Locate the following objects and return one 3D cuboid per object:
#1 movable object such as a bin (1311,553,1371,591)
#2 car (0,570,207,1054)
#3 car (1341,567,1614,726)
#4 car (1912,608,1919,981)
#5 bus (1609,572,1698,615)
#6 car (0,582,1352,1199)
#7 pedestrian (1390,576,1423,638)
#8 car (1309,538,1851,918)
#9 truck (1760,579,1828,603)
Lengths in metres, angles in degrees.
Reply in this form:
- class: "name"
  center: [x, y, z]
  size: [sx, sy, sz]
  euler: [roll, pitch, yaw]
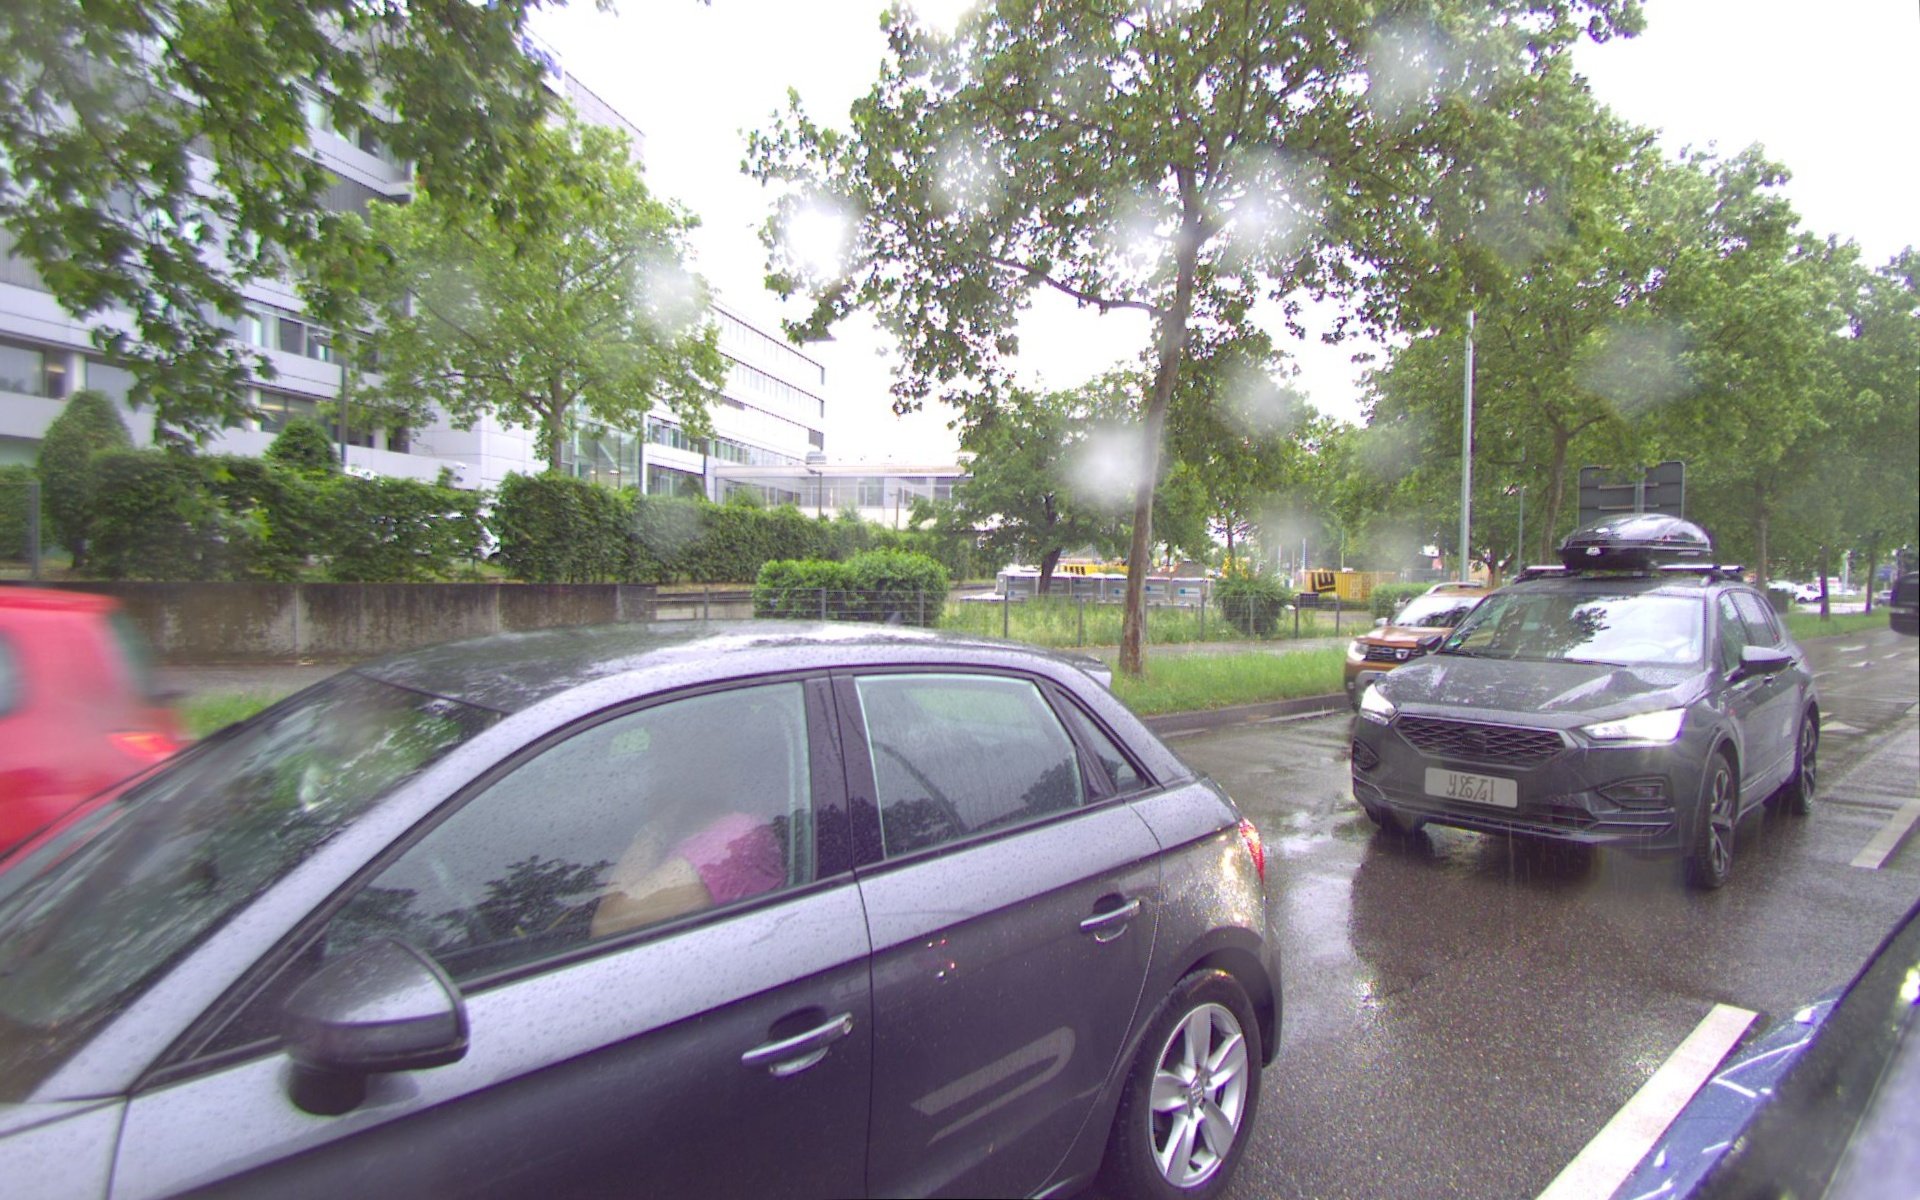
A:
- class: "movable object such as a bin"
  center: [36.111, -2.629, 95.995]
  size: [4.846, 3.478, 1.918]
  euler: [0, 0, 2]
- class: "car"
  center: [-4.313, 0.639, 2.907]
  size: [3.331, 1.481, 1.571]
  euler: [0, 0, -42]
- class: "car"
  center: [6.653, 0.528, 12.829]
  size: [4.074, 1.707, 1.677]
  euler: [1, -1, -41]
- class: "car"
  center: [6.331, 0.175, 4.957]
  size: [5.599, 2.544, 2.024]
  euler: [0, 1, -43]
- class: "bus"
  center: [43.739, -0.423, 63.914]
  size: [1.681, 2.600, 4.366]
  euler: [0, 0, -41]
- class: "car"
  center: [-0.894, 0.697, 2.131]
  size: [3.715, 1.446, 1.679]
  euler: [0, 1, -41]
- class: "pedestrian"
  center: [12.688, 0.189, 28.767]
  size: [0.645, 1.738, 0.645]
  euler: [0, 0, -40]
- class: "car"
  center: [4.326, 0.554, 6.743]
  size: [4.347, 1.719, 1.892]
  euler: [0, 1, -42]
- class: "truck"
  center: [85.209, -0.925, 103.461]
  size: [4.988, 2.406, 1.785]
  euler: [0, 0, 19]
